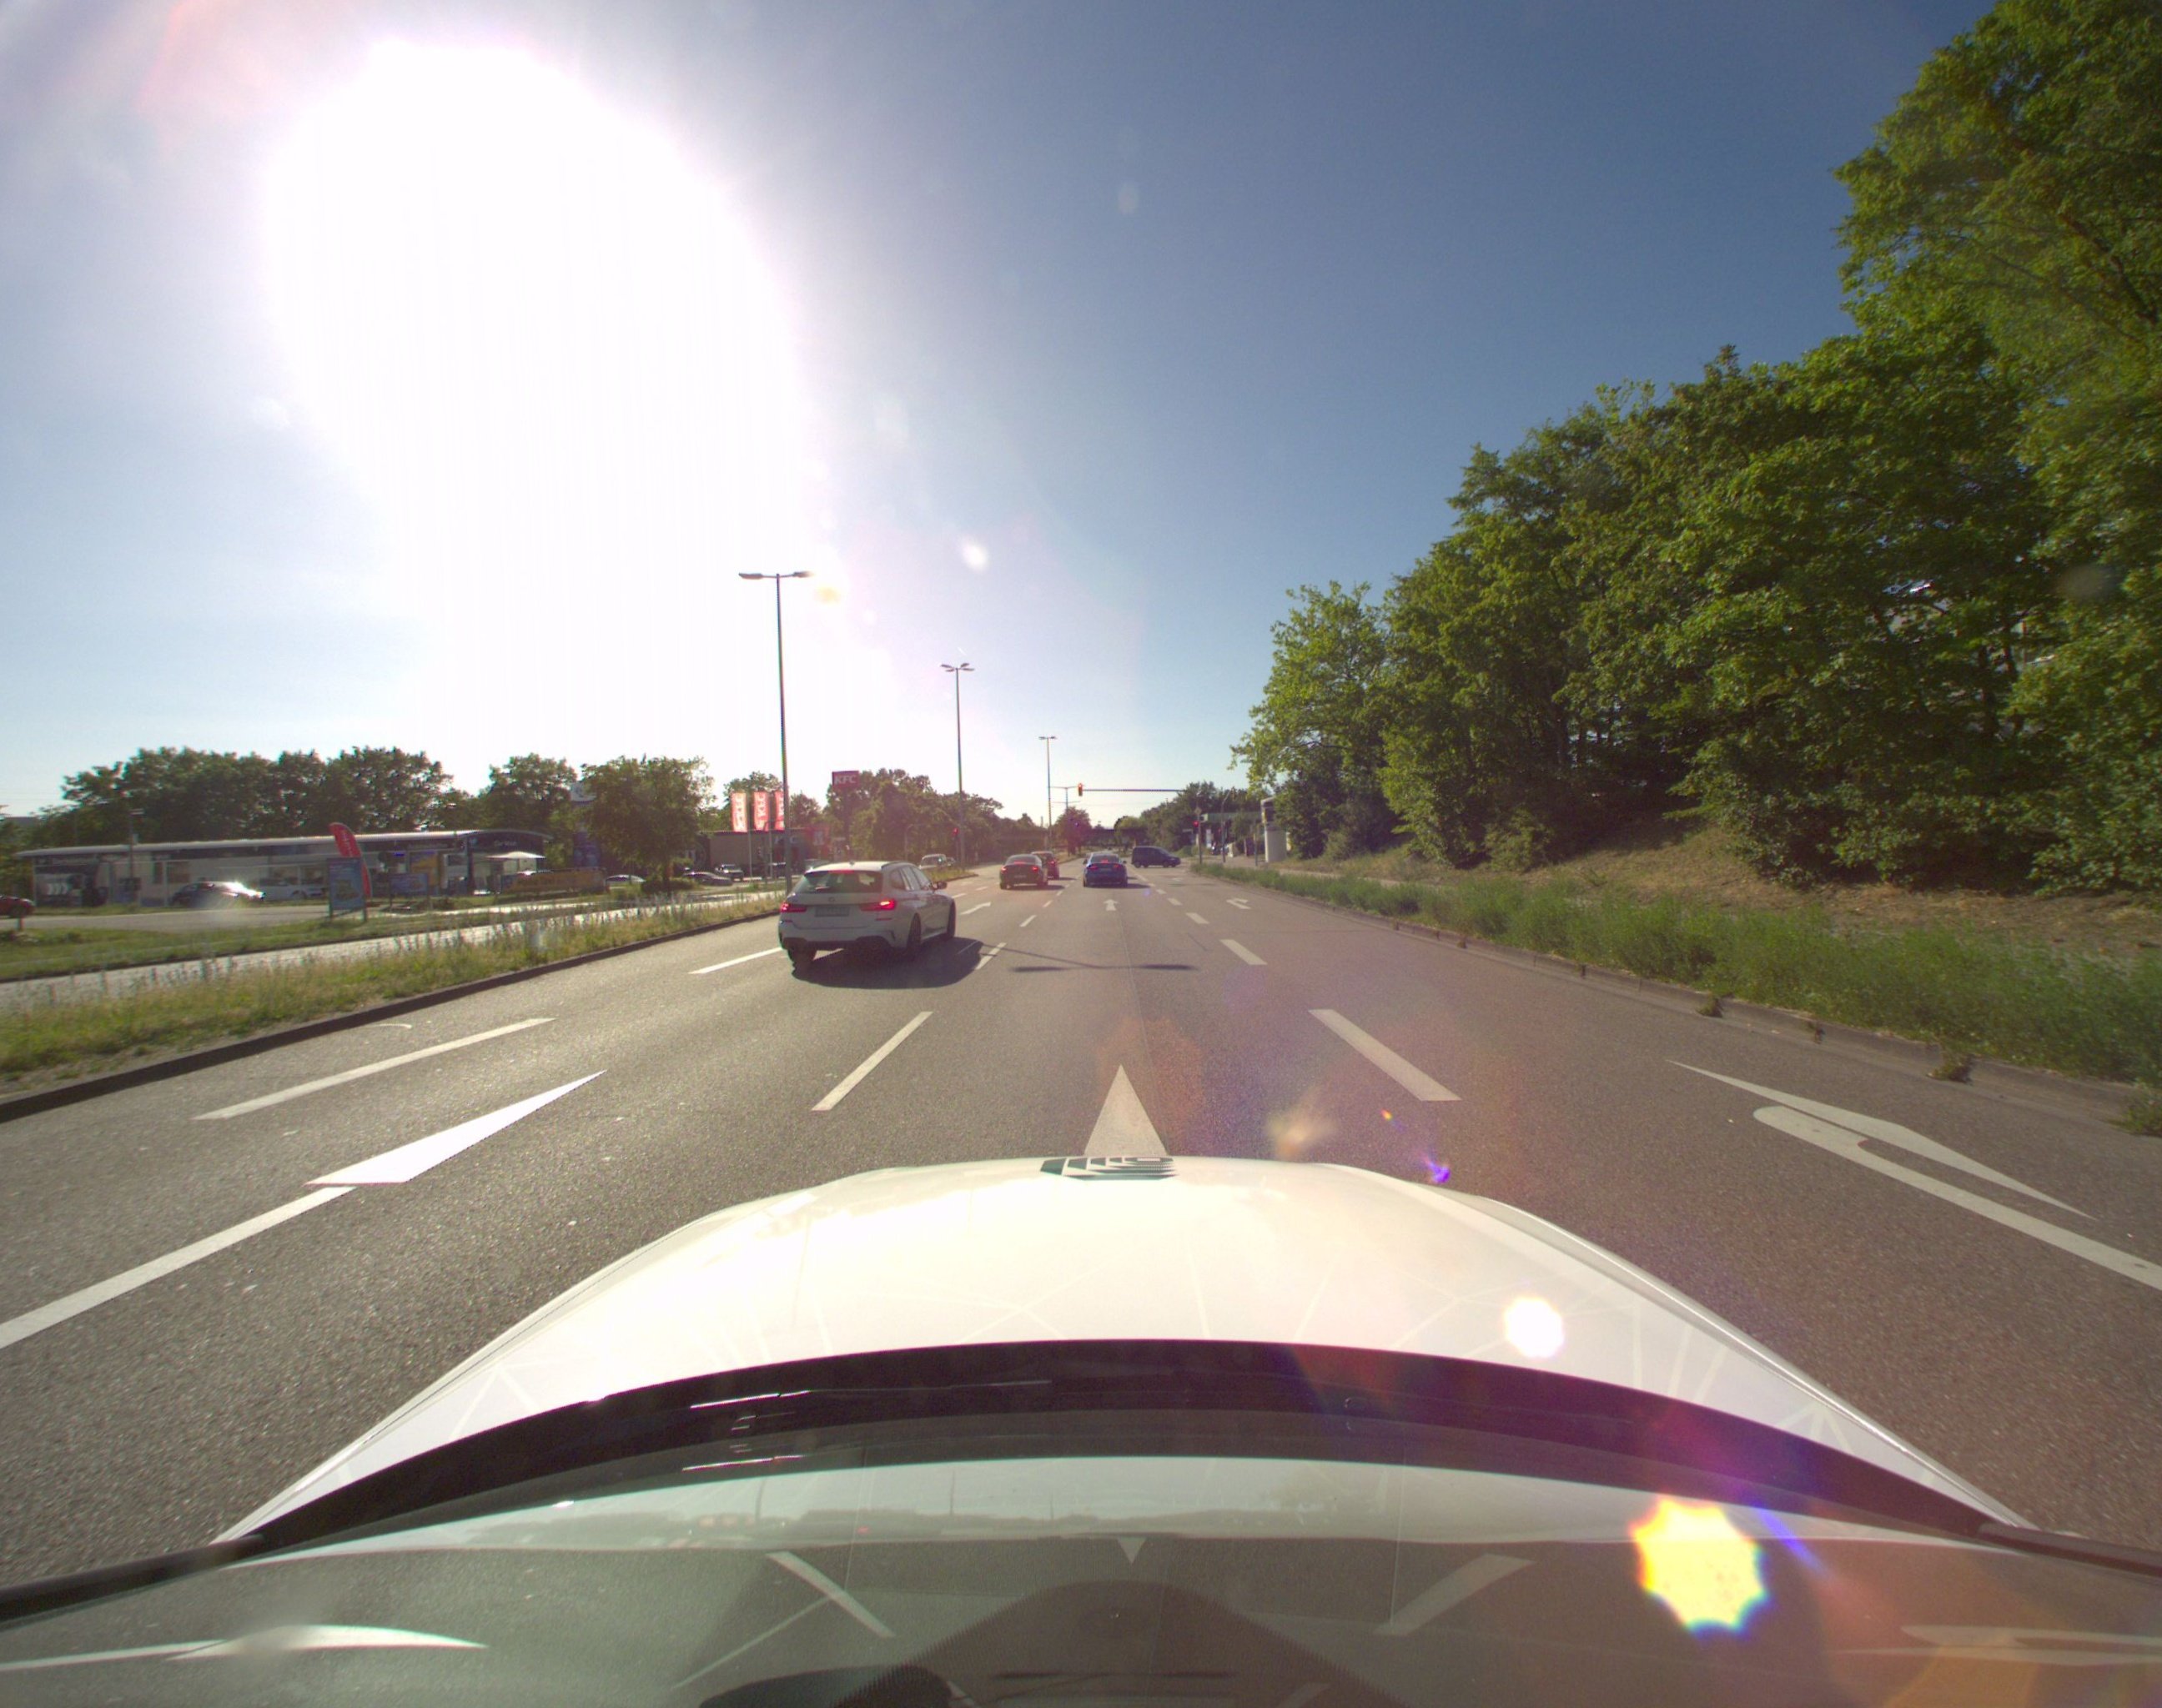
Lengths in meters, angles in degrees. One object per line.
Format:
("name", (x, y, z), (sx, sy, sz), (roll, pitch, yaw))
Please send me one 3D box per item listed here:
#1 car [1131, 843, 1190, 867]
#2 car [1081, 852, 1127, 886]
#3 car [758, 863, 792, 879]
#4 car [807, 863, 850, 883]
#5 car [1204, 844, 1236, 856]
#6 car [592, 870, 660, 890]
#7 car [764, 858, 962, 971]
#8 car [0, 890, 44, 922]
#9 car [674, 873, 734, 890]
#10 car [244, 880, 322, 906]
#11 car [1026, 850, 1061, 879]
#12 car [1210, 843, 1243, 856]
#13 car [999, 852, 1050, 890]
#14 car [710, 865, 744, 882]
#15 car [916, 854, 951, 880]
("car", (6.765, 0.057, 69.570), (4.537, 1.875, 1.829), (-2, 0, 30))
("car", (1.070, 0.635, 35.796), (1.901, 1.423, 3.722), (-1, -1, 3))
("car", (-32.973, 1.829, 87.651), (1.946, 1.740, 4.046), (0, -1, -45))
("car", (-23.561, 1.742, 75.930), (3.774, 1.813, 1.986), (0, -1, -21))
("car", (19.254, -0.535, 112.746), (3.995, 1.552, 1.989), (0, -1, -16))
("car", (-38.180, 2.185, 68.425), (4.608, 1.579, 1.936), (-1, -1, 0))
("car", (-3.233, 0.820, 13.104), (1.805, 1.486, 4.598), (-1, -1, 2))
("car", (-51.251, 2.460, 37.553), (1.516, 1.472, 4.014), (-1, -1, 8))
("car", (-31.270, 2.282, 67.608), (4.070, 1.252, 1.871), (-1, -1, 0))
("car", (-47.628, 2.327, 48.640), (3.129, 1.441, 1.534), (-1, -1, 0))
("car", (-2.129, 0.605, 47.202), (1.806, 1.551, 4.353), (-1, -1, 0))
("car", (18.563, -0.560, 104.015), (3.971, 1.552, 2.001), (-1, -1, 2))
("car", (-2.408, 0.695, 35.684), (1.805, 1.551, 4.544), (-1, 0, 1))
("car", (-36.550, 2.000, 84.079), (1.946, 1.740, 4.046), (0, -1, -45))
("car", (-10.882, 0.919, 60.263), (1.672, 1.848, 4.296), (-1, -1, 1))
